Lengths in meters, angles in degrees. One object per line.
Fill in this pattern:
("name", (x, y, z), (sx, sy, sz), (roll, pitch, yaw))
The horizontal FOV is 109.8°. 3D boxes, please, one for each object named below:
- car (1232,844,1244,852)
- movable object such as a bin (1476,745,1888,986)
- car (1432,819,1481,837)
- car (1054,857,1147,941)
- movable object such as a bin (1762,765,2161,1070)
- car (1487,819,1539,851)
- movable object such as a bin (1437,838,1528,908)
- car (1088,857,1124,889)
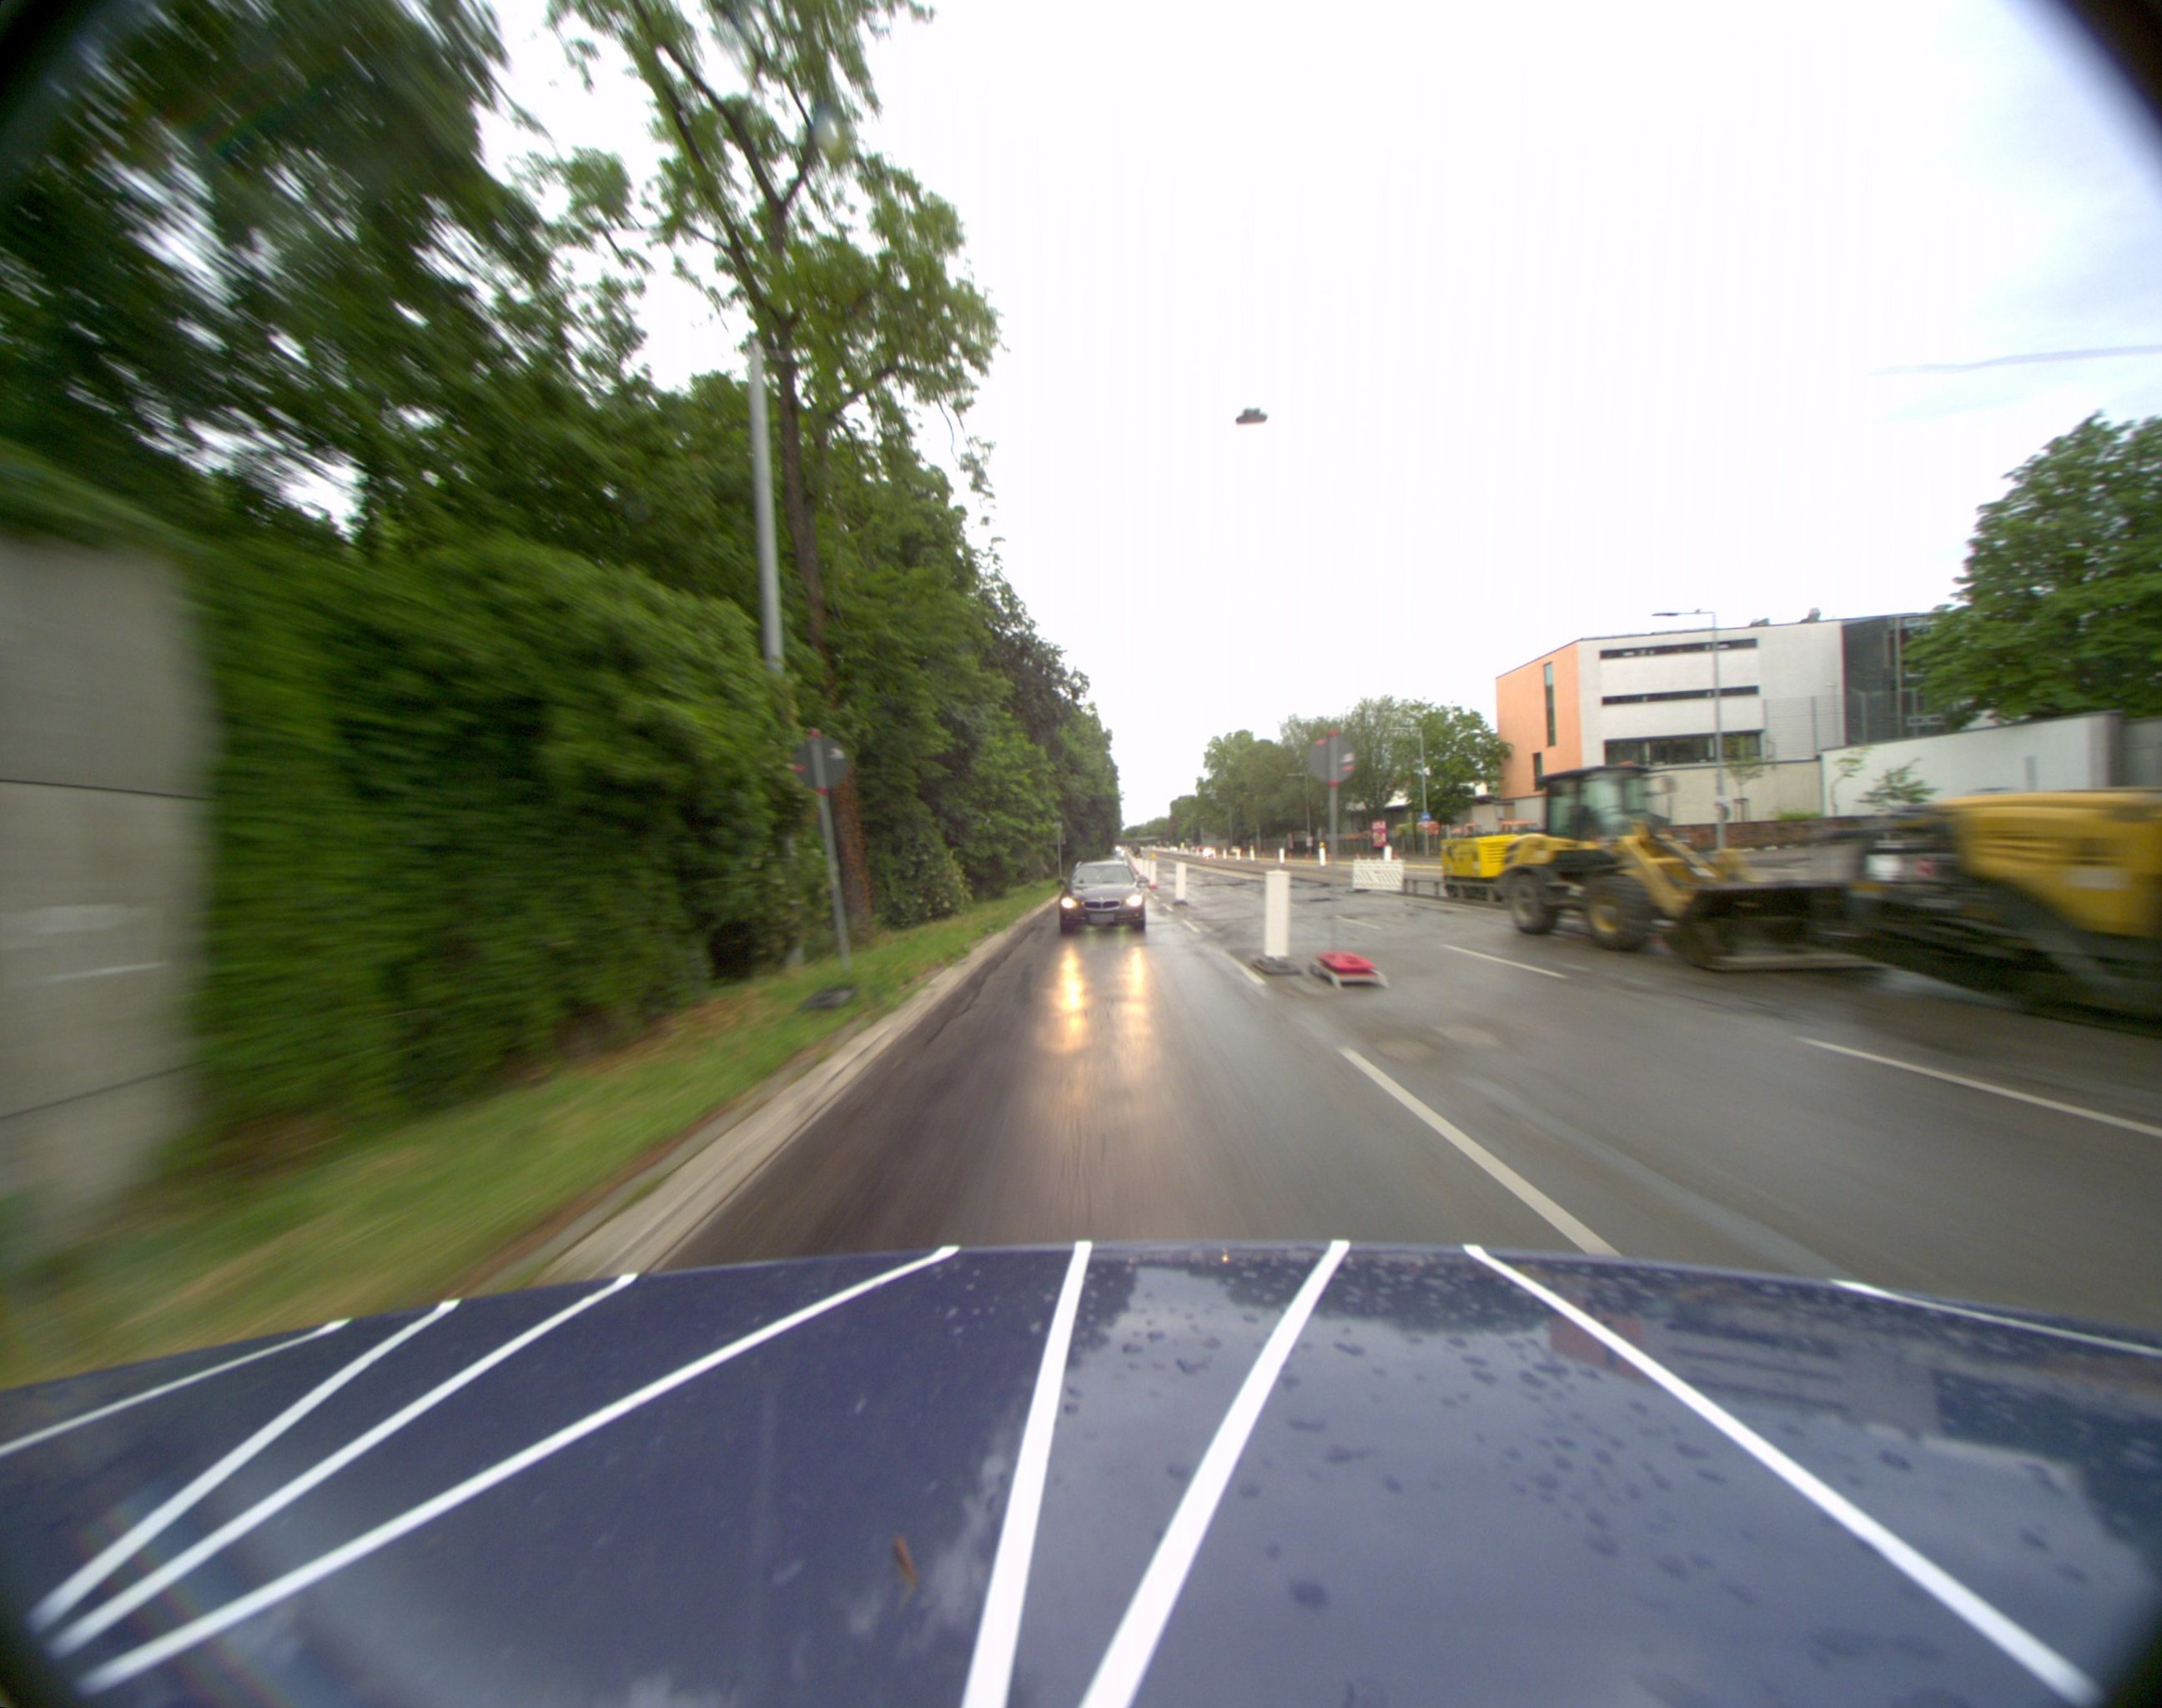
("car", (28.477, -1.108, 138.269), (1.557, 1.360, 3.805), (-2, 1, 3))
("movable object such as a bin", (8.066, 0.127, 11.133), (1.906, 2.594, 5.384), (-3, 0, 3))
("car", (37.483, -2.639, 75.885), (4.012, 1.519, 2.004), (-3, 1, 42))
("car", (0.524, 0.896, 17.152), (1.742, 1.454, 4.458), (-4, 1, 4))
("movable object such as a bin", (8.044, 0.403, 5.774), (1.366, 2.078, 5.030), (-3, 0, 3))
("car", (31.595, -1.334, 55.722), (1.614, 2.158, 4.000), (-3, 0, 2))
("movable object such as a bin", (10.356, 0.454, 19.724), (1.086, 1.635, 2.439), (-3, 0, 2))
("car", (1.385, 0.965, 40.806), (1.742, 1.454, 4.458), (-4, 1, 4))
